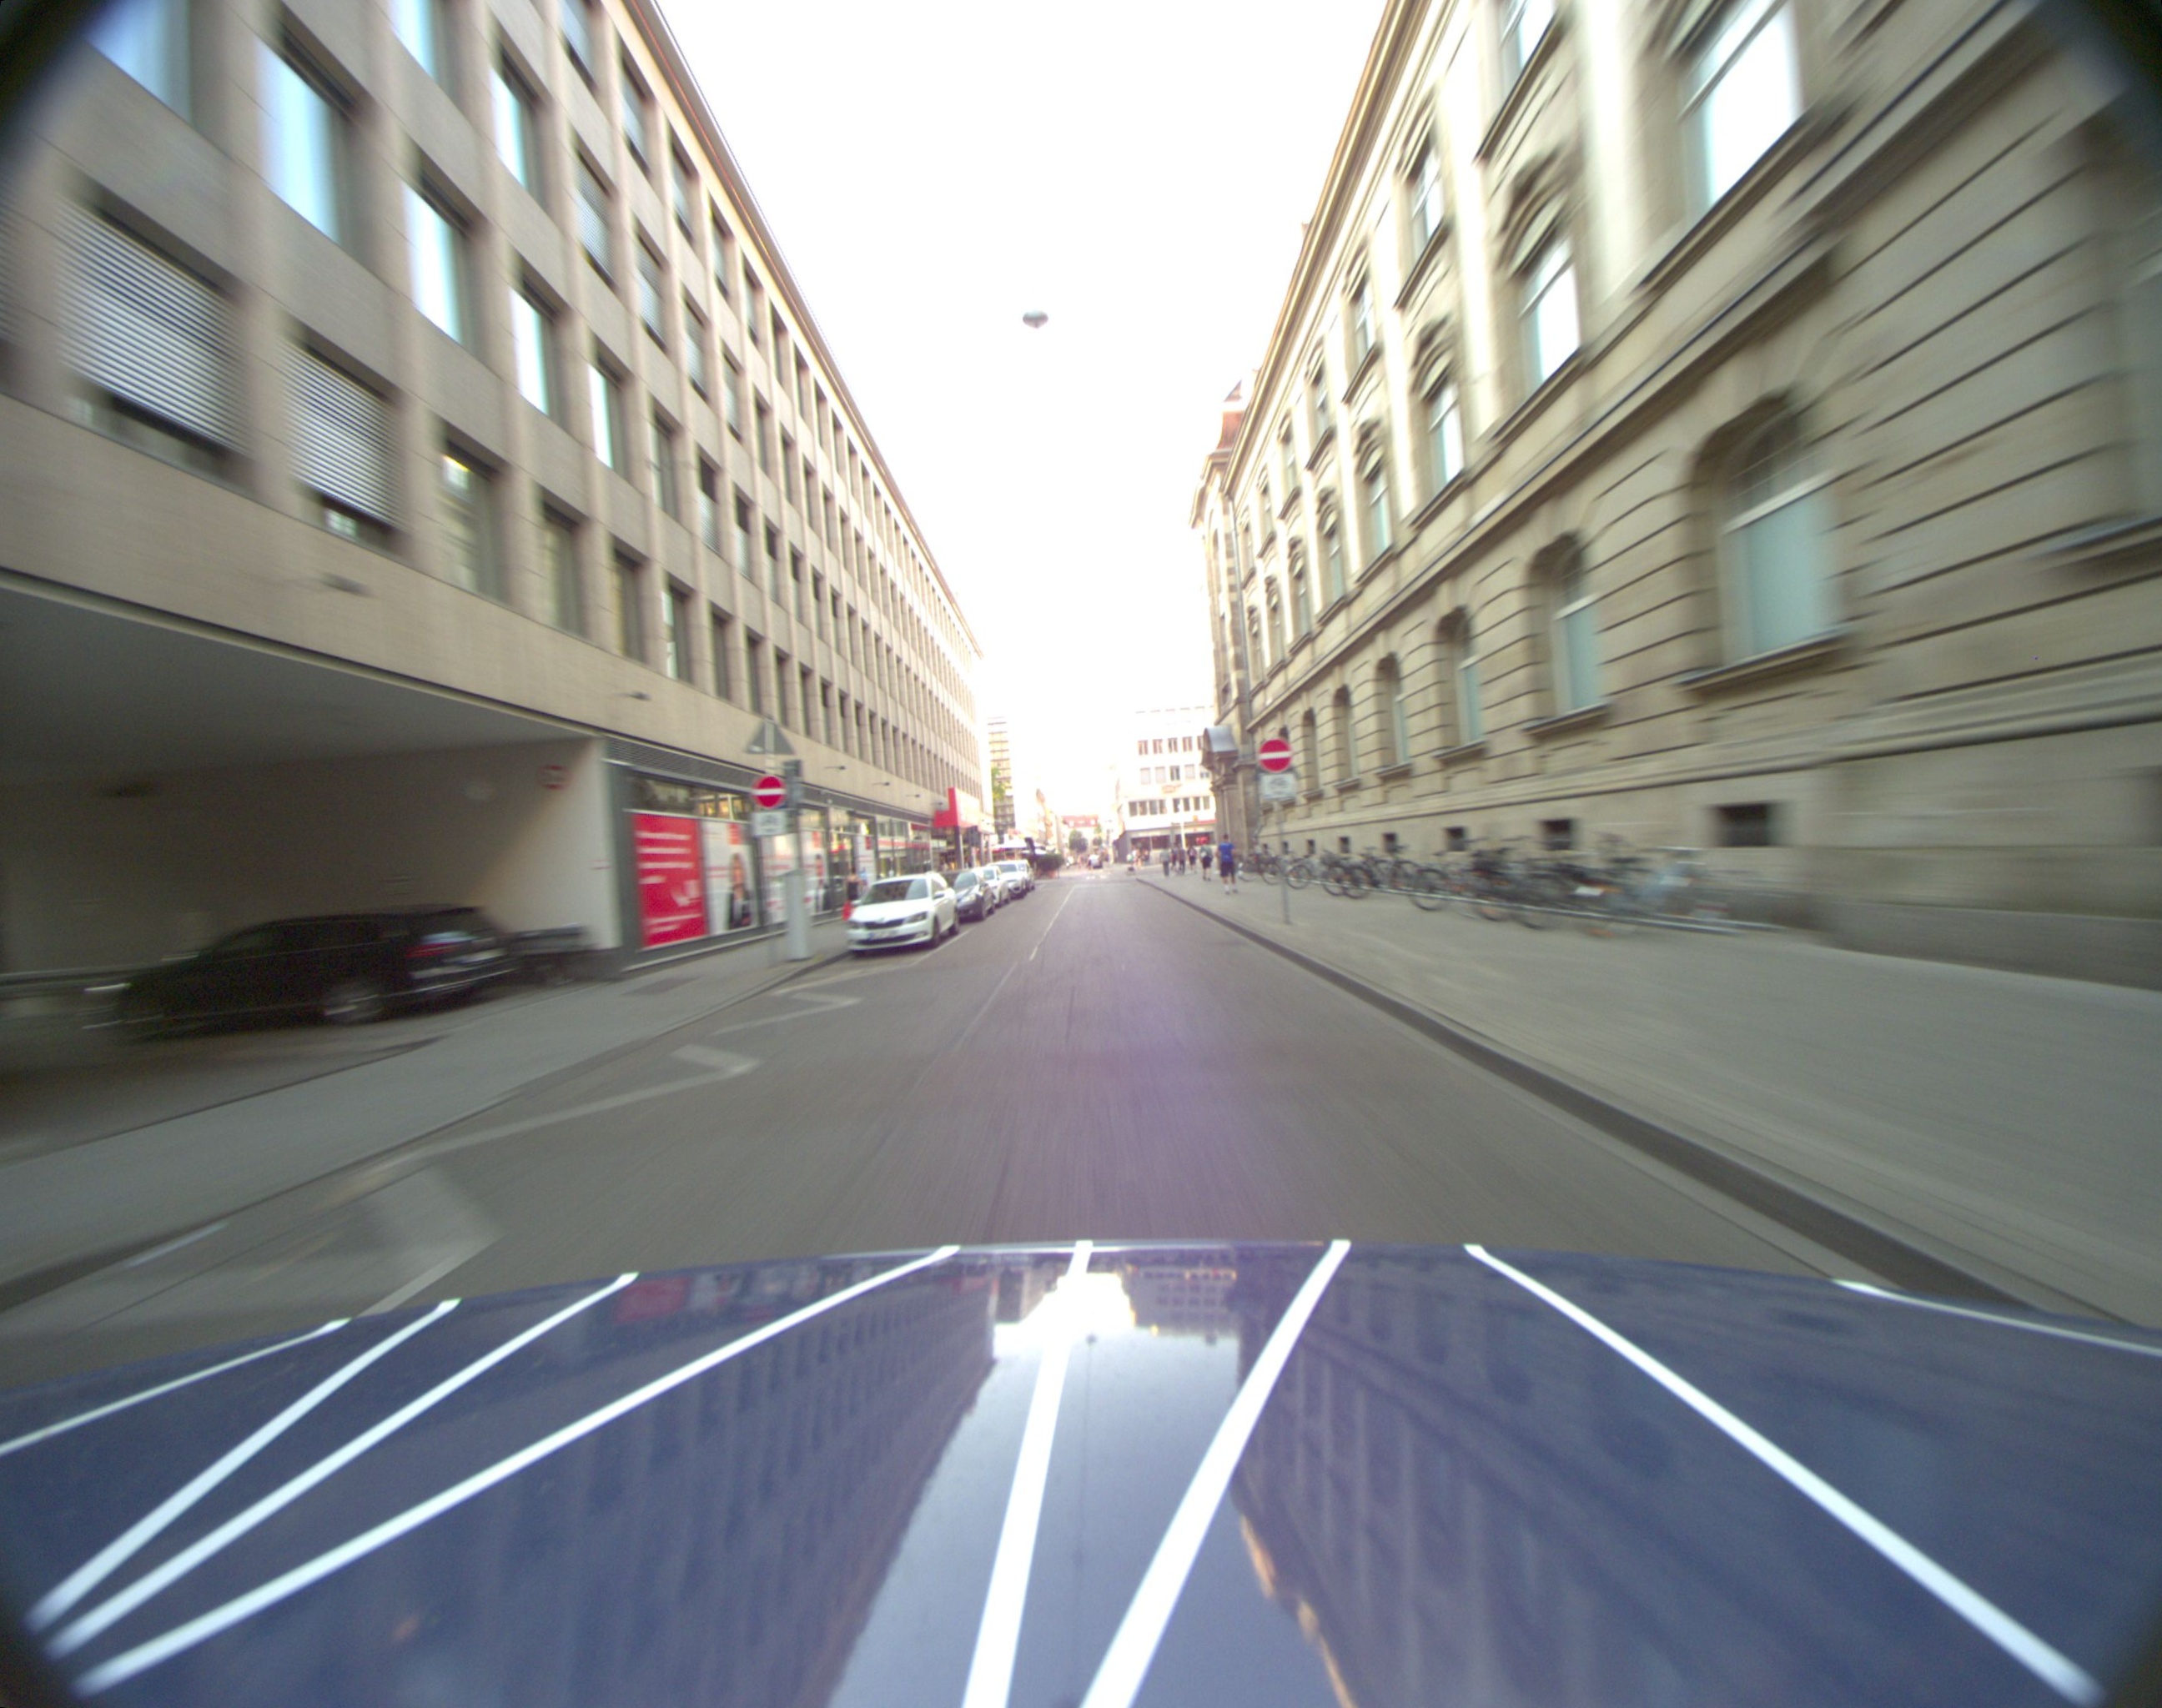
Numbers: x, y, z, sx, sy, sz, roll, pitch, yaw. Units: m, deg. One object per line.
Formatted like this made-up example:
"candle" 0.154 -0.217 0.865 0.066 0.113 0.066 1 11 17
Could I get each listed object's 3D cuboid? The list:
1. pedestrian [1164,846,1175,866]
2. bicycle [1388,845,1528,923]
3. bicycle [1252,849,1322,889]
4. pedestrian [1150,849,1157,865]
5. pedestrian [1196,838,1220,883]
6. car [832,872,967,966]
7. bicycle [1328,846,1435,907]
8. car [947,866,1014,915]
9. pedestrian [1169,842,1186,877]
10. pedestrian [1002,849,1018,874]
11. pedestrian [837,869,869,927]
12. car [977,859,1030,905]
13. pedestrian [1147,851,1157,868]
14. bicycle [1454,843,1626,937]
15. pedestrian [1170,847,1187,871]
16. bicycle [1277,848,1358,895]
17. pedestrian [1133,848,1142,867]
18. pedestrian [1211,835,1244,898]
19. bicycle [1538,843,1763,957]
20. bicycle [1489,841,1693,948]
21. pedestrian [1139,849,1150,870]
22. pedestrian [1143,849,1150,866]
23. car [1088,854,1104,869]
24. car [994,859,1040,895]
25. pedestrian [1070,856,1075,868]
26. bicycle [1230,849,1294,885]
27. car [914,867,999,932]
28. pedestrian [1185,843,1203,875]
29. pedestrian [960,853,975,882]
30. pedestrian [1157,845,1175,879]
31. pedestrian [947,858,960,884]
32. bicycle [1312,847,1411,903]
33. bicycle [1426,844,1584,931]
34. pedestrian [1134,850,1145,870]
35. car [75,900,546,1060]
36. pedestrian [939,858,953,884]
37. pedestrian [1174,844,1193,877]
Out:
"pedestrian" 7.486 0.187 64.220 0.732 1.679 0.746 -4 0 3
"bicycle" 6.319 0.483 12.790 1.943 1.072 0.730 -6 1 -6
"bicycle" 6.656 0.483 24.542 2.026 1.072 0.729 -6 1 -18
"pedestrian" 7.880 0.314 82.195 0.545 1.698 0.558 -5 0 1
"pedestrian" 5.224 0.262 31.249 0.719 1.770 0.800 -6 0 2
"car" -3.645 1.238 16.056 1.661 1.439 4.308 -5 0 1
"bicycle" 6.465 0.475 16.412 1.943 1.072 0.730 -6 1 -6
"car" -3.569 1.260 27.579 1.661 1.439 3.869 -5 0 2
"pedestrian" 5.340 0.294 42.086 0.718 1.819 0.870 -7 0 8
"pedestrian" -5.207 0.573 56.025 0.685 1.751 0.801 -4 0 42
"pedestrian" -6.597 1.261 21.987 0.650 1.626 0.650 -3 0 0
"car" -3.287 1.129 33.058 1.780 1.656 4.812 -5 0 -1
"pedestrian" 6.771 0.545 72.431 0.676 1.532 0.641 -5 1 -23
"bicycle" 6.435 0.482 10.700 1.943 1.072 0.730 -6 1 -6
"pedestrian" 6.859 0.357 53.422 0.742 1.649 0.754 -4 0 39
"bicycle" 6.553 0.474 21.102 1.942 1.072 0.730 -6 1 -4
"pedestrian" 5.793 0.373 77.826 0.783 1.881 0.642 -4 1 1
"pedestrian" 4.319 0.364 22.420 0.777 1.778 0.821 -5 0 10
"bicycle" 6.338 0.493 8.516 1.940 1.039 0.721 -5 0 -3
"bicycle" 6.279 0.479 9.437 1.942 1.072 0.748 -6 1 0
"pedestrian" 5.382 0.479 64.321 0.795 1.679 0.769 -4 0 3
"pedestrian" 7.026 0.364 81.625 0.545 1.698 0.558 -5 0 1
"car" 1.814 0.922 92.310 1.824 1.728 4.000 -4 0 0
"car" -3.246 1.136 39.409 1.744 1.589 4.714 -6 0 1
"pedestrian" -1.300 1.199 114.305 0.650 1.651 0.650 -4 0 -3
"bicycle" 6.517 0.461 27.419 2.024 1.102 0.730 -6 1 -5
"car" -3.485 1.226 22.028 1.661 1.439 4.445 -5 0 0
"pedestrian" 6.230 0.271 41.905 0.757 1.632 0.749 -8 0 8
"pedestrian" -7.723 0.908 51.742 0.799 1.907 0.687 -4 0 0
"pedestrian" 4.509 0.417 40.345 0.727 1.732 0.839 -8 0 4
"pedestrian" -8.875 1.159 52.872 0.800 1.751 0.687 -4 0 -9
"bicycle" 6.472 0.481 17.601 1.943 1.072 0.730 -6 1 -6
"bicycle" 6.380 0.487 11.473 1.943 1.072 0.730 -6 1 -6
"pedestrian" 4.905 0.504 63.509 0.795 1.679 0.769 -4 0 3
"car" -10.388 1.649 10.545 4.413 1.492 1.917 -5 1 0
"pedestrian" -9.221 1.175 51.920 0.800 1.751 0.687 -4 0 -6
"pedestrian" 5.440 0.330 40.512 0.731 1.658 0.858 -8 0 4
